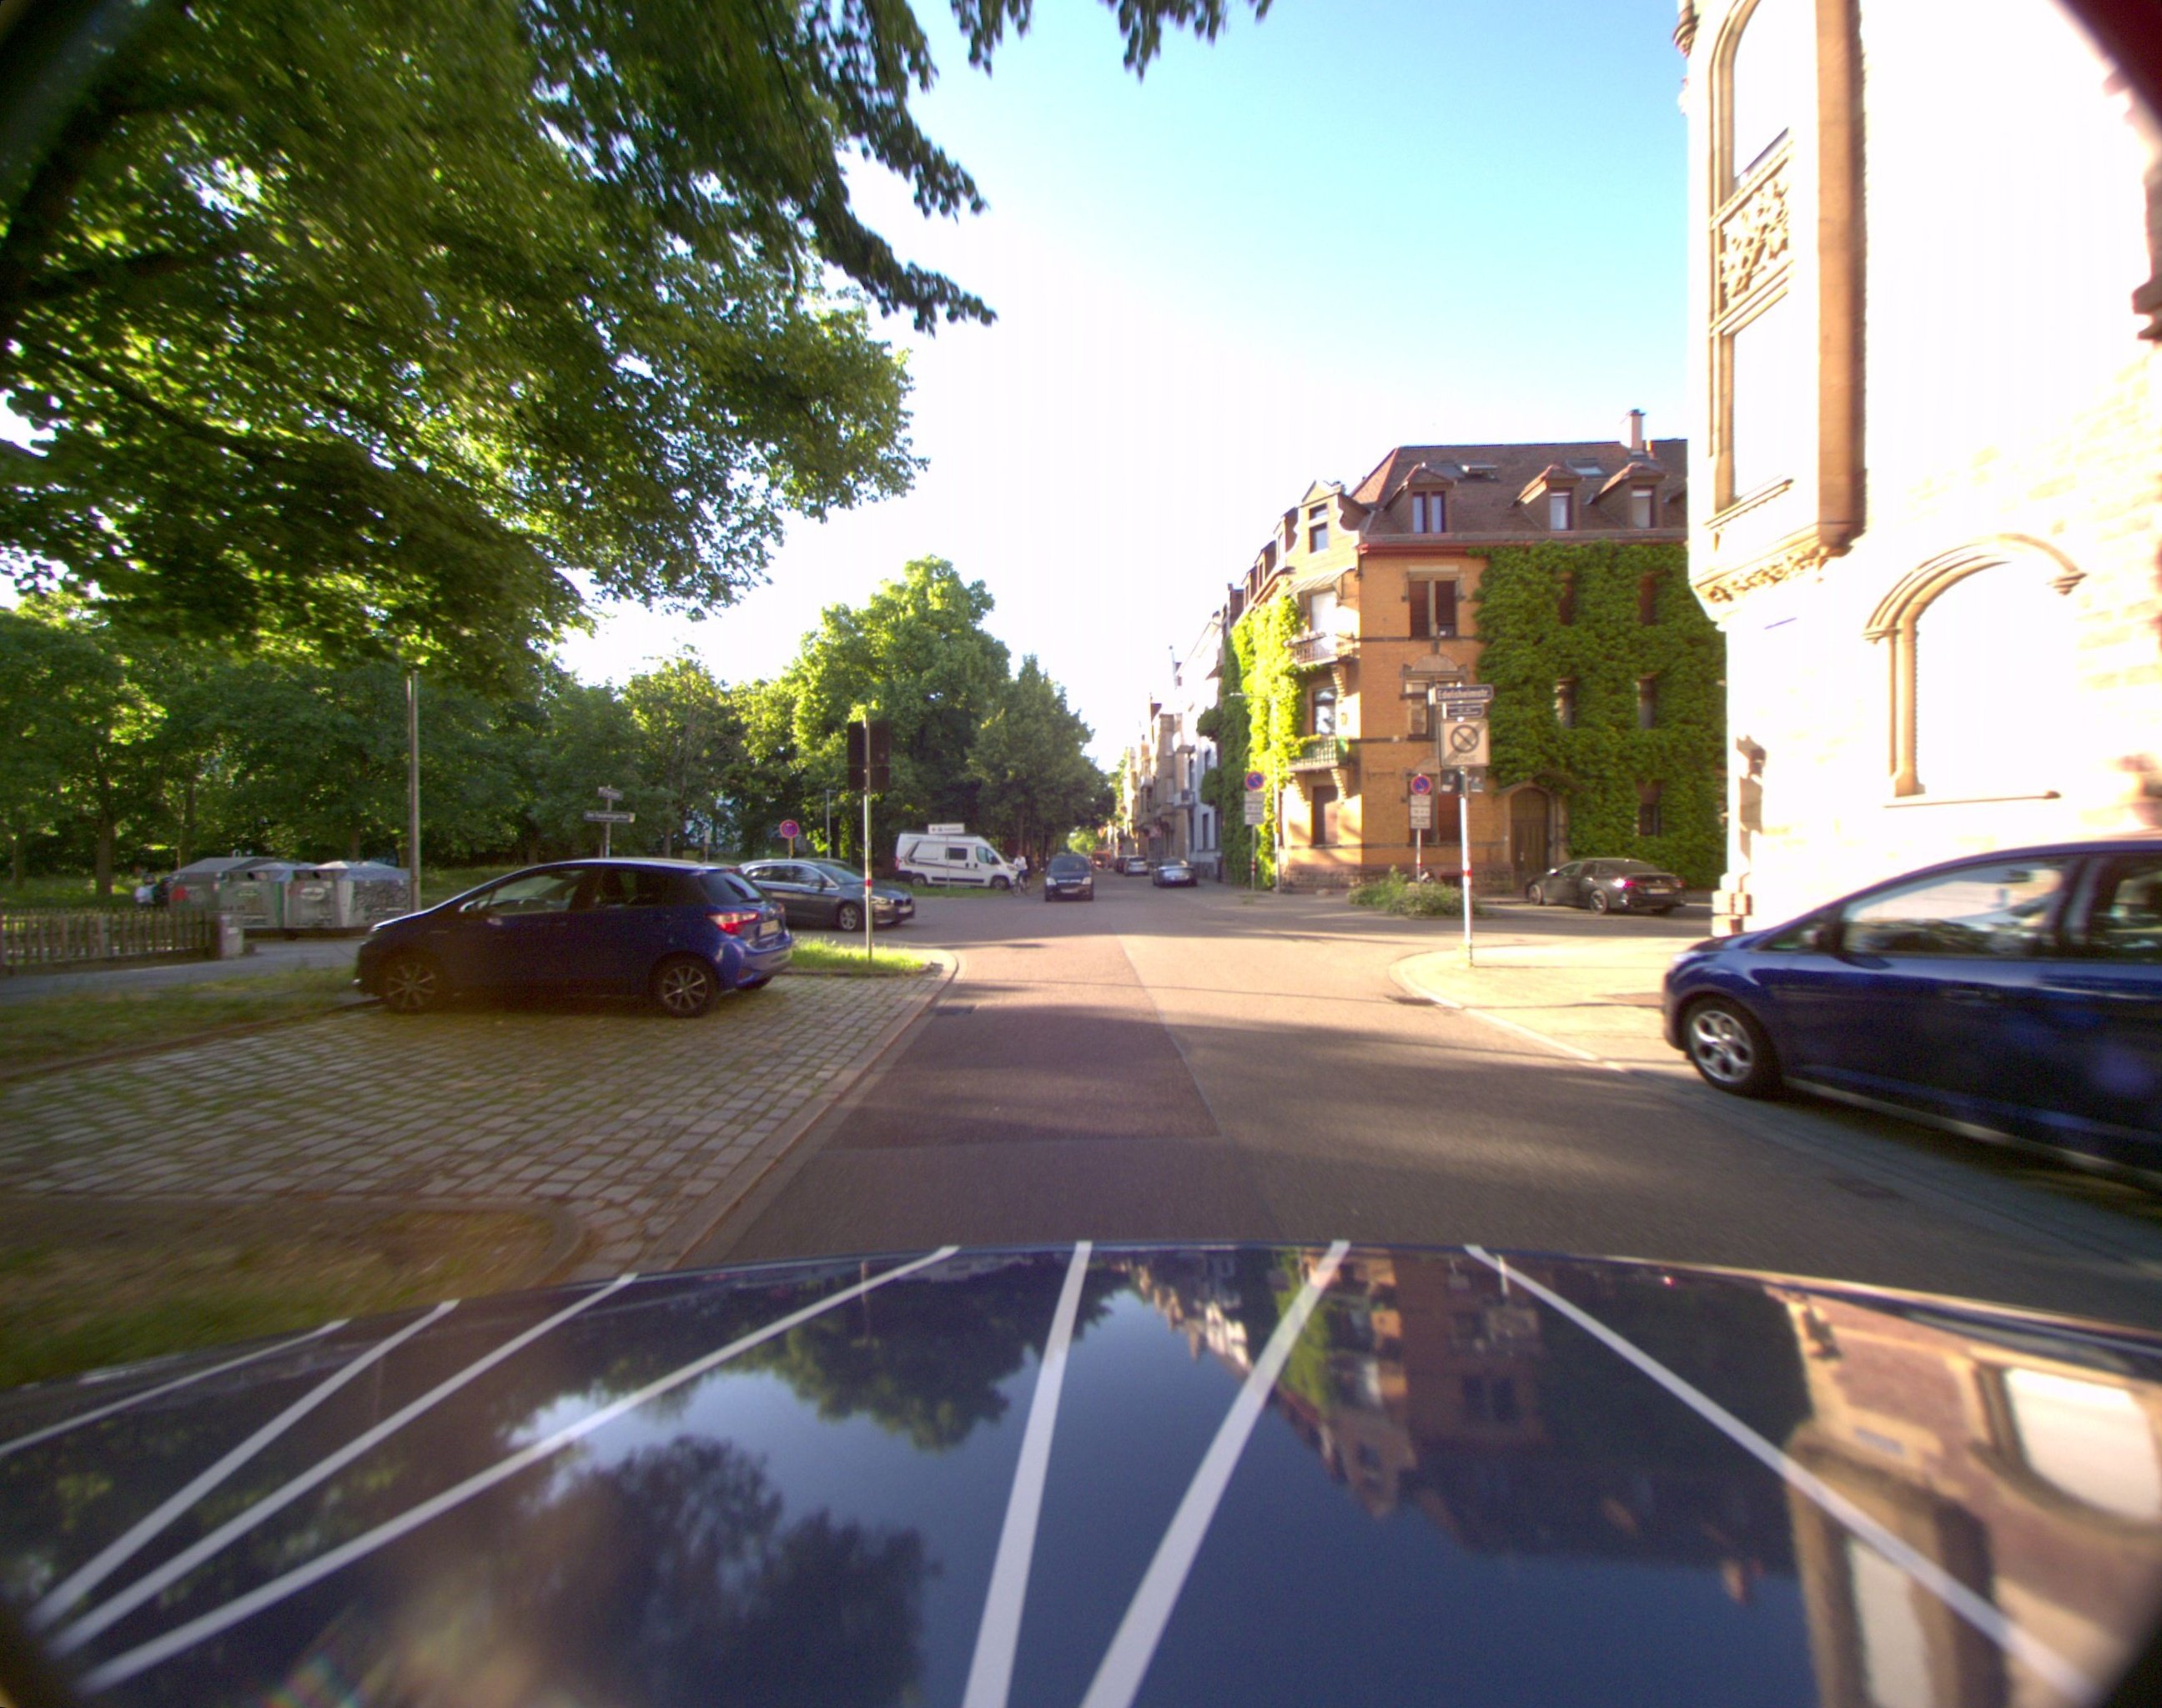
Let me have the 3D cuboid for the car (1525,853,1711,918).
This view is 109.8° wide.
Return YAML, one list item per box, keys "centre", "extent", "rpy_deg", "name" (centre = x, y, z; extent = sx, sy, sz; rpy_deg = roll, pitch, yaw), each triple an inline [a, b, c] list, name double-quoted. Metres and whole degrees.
- centre: [14.138, 0.761, 20.379]
  extent: [1.998, 1.427, 4.256]
  rpy_deg: [-1, 1, 0]
  name: "car"

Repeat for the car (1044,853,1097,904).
- centre: [-0.397, 0.797, 26.521]
  extent: [1.649, 1.581, 4.019]
  rpy_deg: [-2, 0, -2]
  name: "car"

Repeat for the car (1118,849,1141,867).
- centre: [4.657, 0.390, 73.517]
  extent: [1.998, 1.616, 4.142]
  rpy_deg: [-1, 1, 1]
  name: "car"

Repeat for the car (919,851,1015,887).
- centre: [-5.338, 0.711, 36.100]
  extent: [4.297, 1.566, 1.978]
  rpy_deg: [-1, 2, -2]
  name: "car"

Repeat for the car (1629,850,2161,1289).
- centre: [4.927, 0.817, 3.384]
  extent: [1.734, 1.612, 4.257]
  rpy_deg: [-2, 0, -3]
  name: "car"

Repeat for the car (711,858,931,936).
- centre: [-6.068, 0.962, 17.797]
  extent: [4.608, 1.613, 1.893]
  rpy_deg: [-1, 1, 19]
  name: "car"

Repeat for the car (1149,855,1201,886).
- centre: [4.677, 0.792, 38.511]
  extent: [1.882, 1.396, 4.925]
  rpy_deg: [-3, 0, -1]
  name: "car"

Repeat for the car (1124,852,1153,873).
- centre: [4.510, 0.634, 59.872]
  extent: [1.867, 1.538, 3.791]
  rpy_deg: [-1, 1, -1]
  name: "car"

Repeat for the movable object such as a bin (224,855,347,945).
- centre: [-16.977, 0.957, 16.247]
  extent: [1.384, 1.817, 1.151]
  rpy_deg: [-1, 2, 7]
  name: "movable object such as a bin"

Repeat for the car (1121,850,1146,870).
- centre: [4.691, 0.535, 68.552]
  extent: [1.998, 1.616, 4.142]
  rpy_deg: [-1, 1, 1]
  name: "car"

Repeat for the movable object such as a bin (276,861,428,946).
- centre: [-15.426, 1.015, 16.158]
  extent: [1.638, 1.648, 1.592]
  rpy_deg: [-1, 2, 7]
  name: "movable object such as a bin"

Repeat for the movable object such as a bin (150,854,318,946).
- centre: [-18.413, 0.953, 16.605]
  extent: [1.392, 1.843, 1.927]
  rpy_deg: [-1, 2, 7]
  name: "movable object such as a bin"

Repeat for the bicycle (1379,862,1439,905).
- centre: [10.067, 0.901, 23.339]
  extent: [1.600, 1.261, 0.565]
  rpy_deg: [-1, 0, 9]
  name: "bicycle"

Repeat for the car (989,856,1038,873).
- centre: [-5.524, 0.847, 62.505]
  extent: [3.879, 1.249, 1.785]
  rpy_deg: [-1, 2, -2]
  name: "car"

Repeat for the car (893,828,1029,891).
- centre: [-5.149, 0.190, 33.389]
  extent: [5.628, 2.599, 2.238]
  rpy_deg: [-1, 2, -2]
  name: "car"

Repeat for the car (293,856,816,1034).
- centre: [-5.087, 0.840, 7.899]
  extent: [3.998, 1.547, 1.999]
  rpy_deg: [1, 2, -3]
  name: "car"
